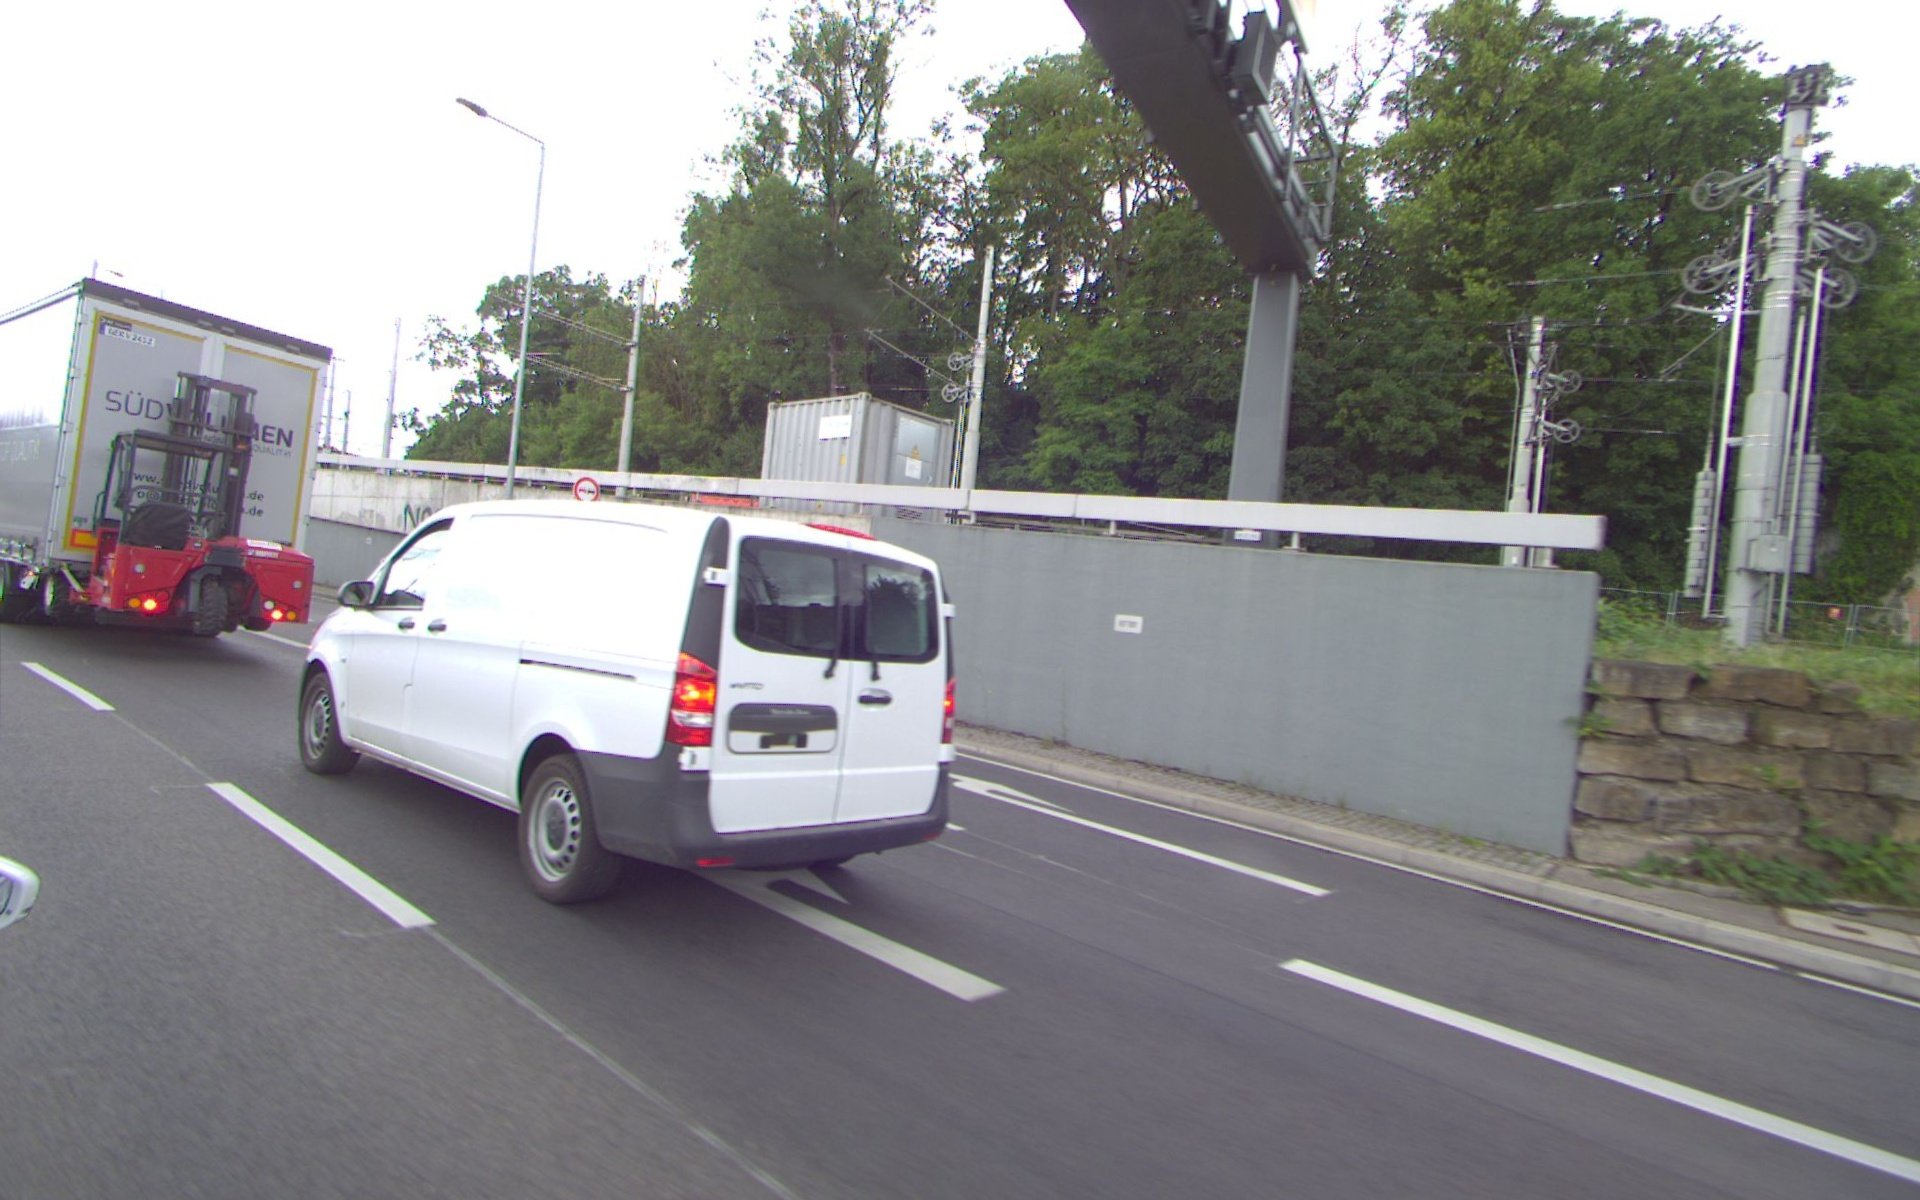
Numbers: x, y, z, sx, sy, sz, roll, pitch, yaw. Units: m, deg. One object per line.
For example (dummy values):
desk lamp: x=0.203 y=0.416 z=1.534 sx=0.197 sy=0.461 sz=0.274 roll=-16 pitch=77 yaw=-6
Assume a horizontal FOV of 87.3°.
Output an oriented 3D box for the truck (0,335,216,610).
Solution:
truck: x=-19.526 y=-2.539 z=20.326 sx=10.812 sy=4.189 sz=3.728 roll=6 pitch=-2 yaw=35

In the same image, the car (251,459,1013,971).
car: x=-2.401 y=0.373 z=6.356 sx=5.125 sy=2.013 sz=1.993 roll=6 pitch=-2 yaw=40

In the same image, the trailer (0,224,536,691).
trailer: x=-10.822 y=-1.619 z=13.972 sx=10.815 sy=4.189 sz=3.727 roll=6 pitch=-2 yaw=37
